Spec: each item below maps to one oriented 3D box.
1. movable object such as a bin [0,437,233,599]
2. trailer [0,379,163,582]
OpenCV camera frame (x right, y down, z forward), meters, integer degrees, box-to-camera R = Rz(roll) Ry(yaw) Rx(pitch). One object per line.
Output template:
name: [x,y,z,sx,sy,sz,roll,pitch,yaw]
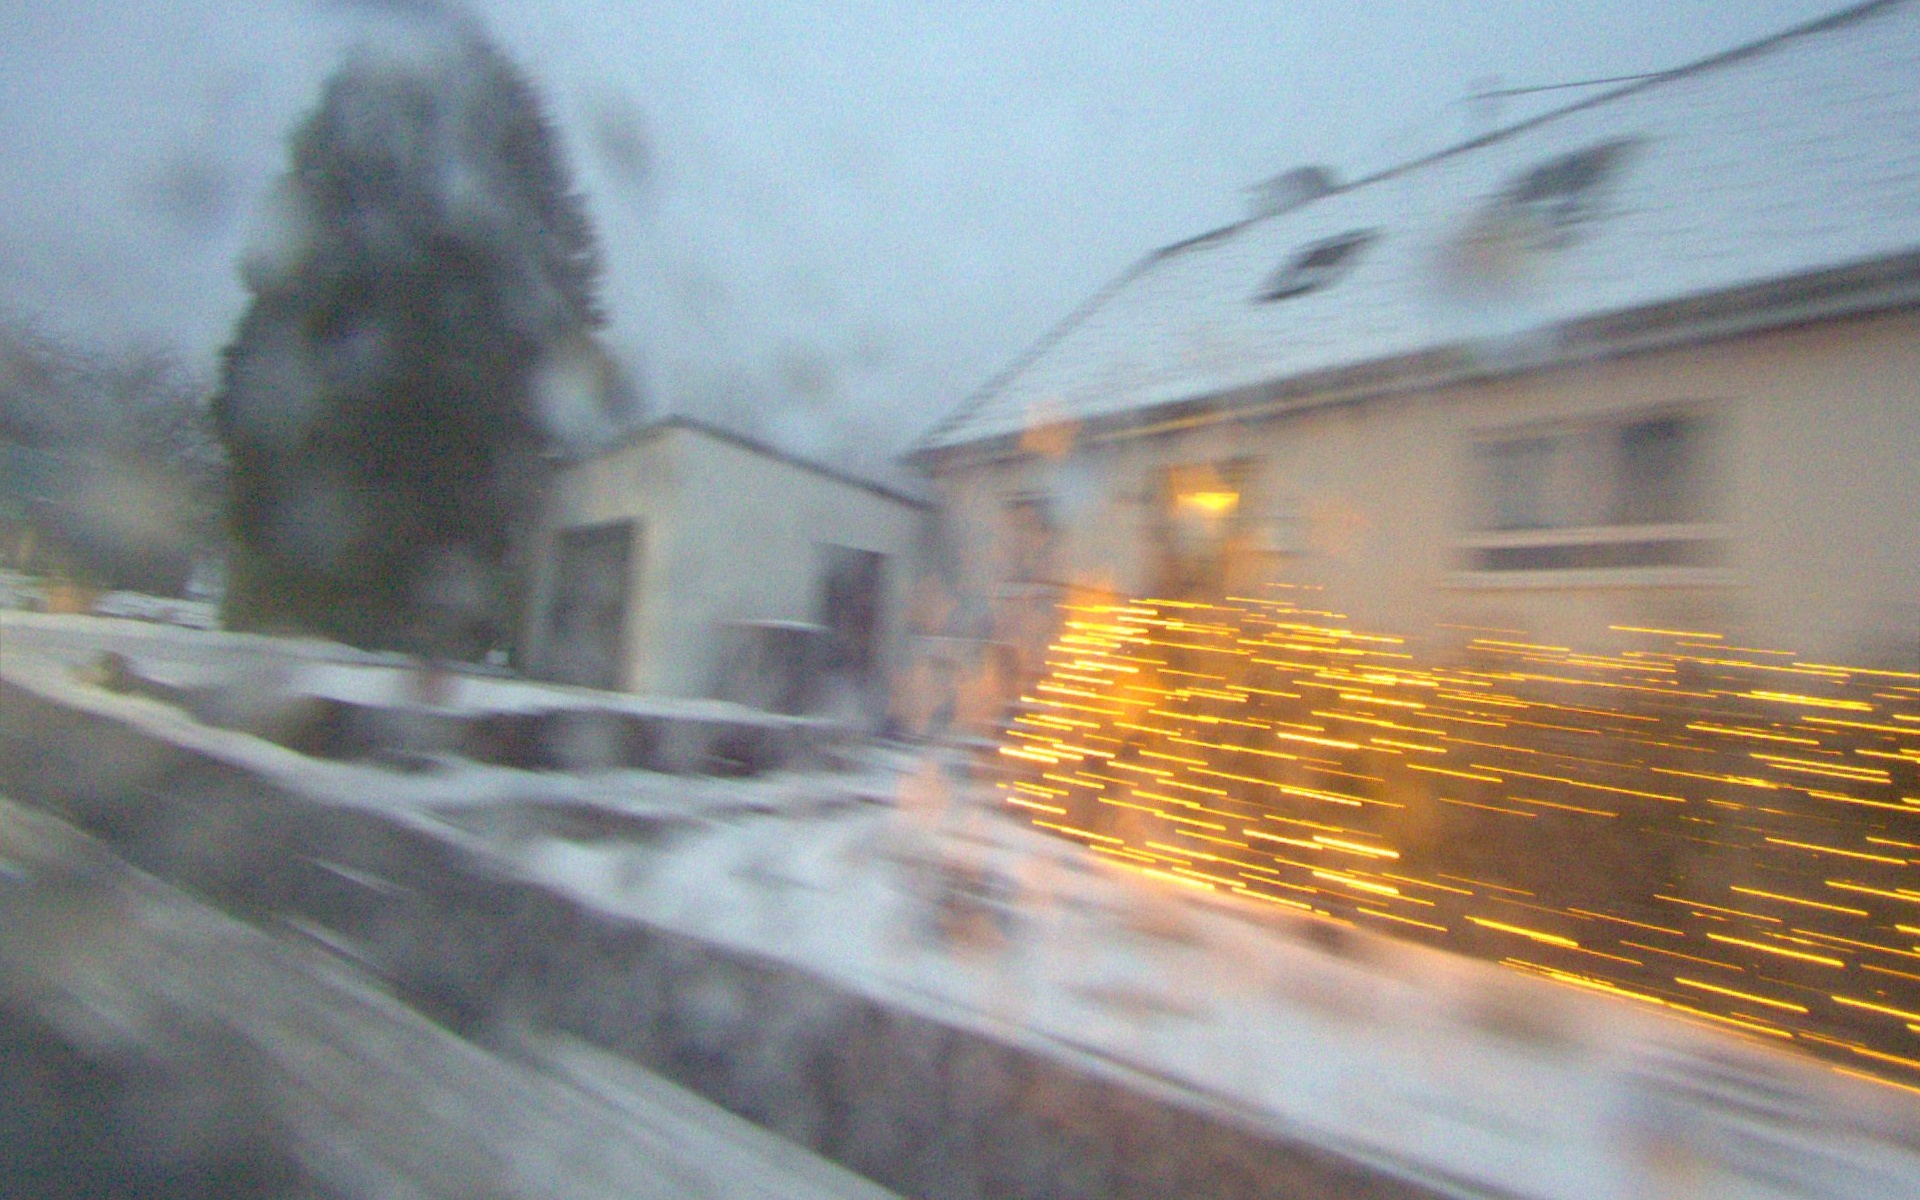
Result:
movable object such as a bin: [-16.453,-1.577,19.280,4.442,2.496,2.392,6,-3,33]
trailer: [-20.305,-2.560,21.530,4.973,3.600,2.885,6,-3,26]
